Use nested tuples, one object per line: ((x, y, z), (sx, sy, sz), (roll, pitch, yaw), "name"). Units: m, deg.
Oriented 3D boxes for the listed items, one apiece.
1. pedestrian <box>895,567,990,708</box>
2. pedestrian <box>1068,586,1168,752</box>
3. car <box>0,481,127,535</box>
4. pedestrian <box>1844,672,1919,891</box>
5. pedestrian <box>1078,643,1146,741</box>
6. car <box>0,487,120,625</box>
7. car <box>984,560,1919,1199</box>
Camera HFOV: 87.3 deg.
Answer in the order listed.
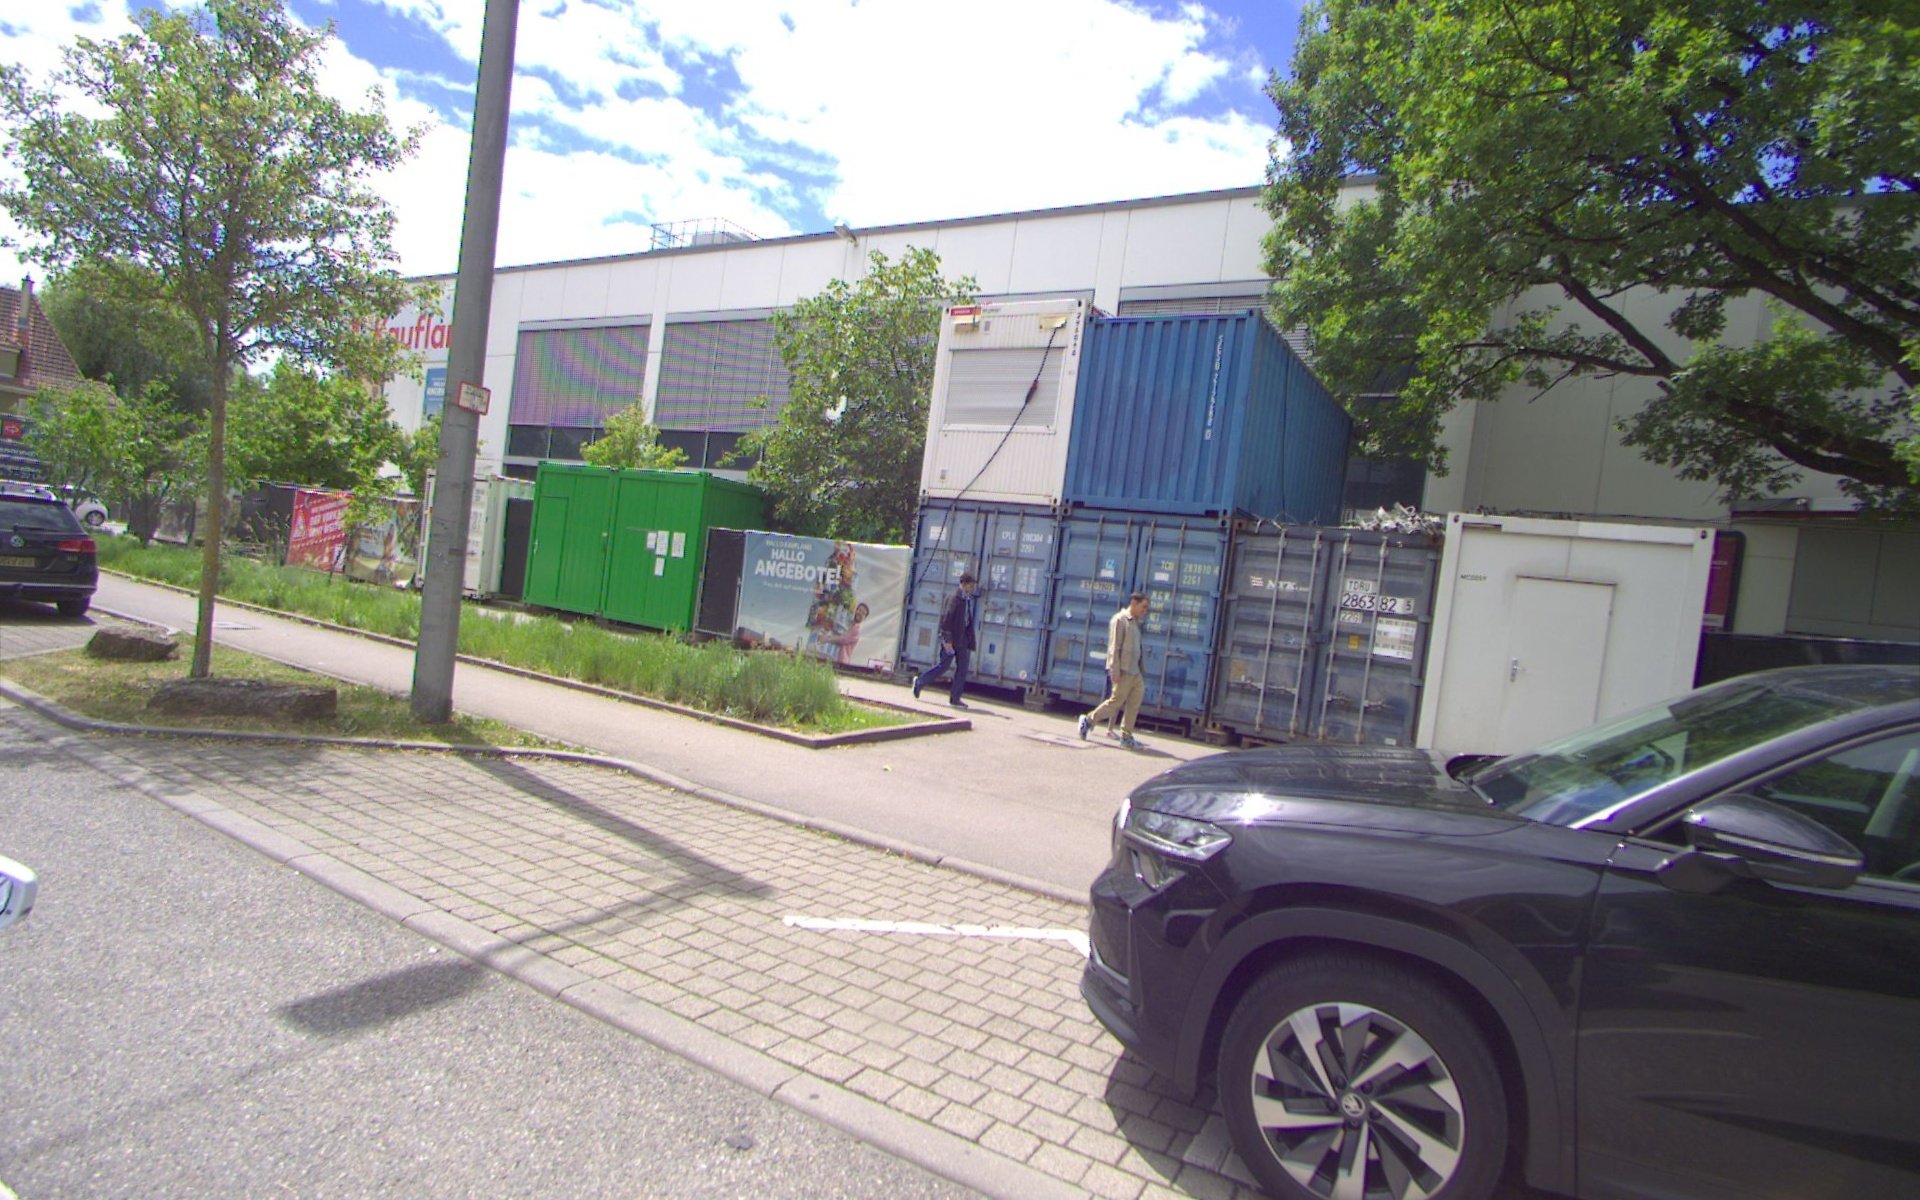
((-0.225, 0.493, 13.120), (0.831, 1.718, 0.652), (7, 0, 32), "pedestrian")
((1.761, 0.757, 11.193), (0.713, 1.717, 0.651), (7, 0, 32), "pedestrian")
((-35.506, -3.603, 39.501), (1.583, 1.627, 3.985), (7, 2, 35), "car")
((7.648, 1.439, 7.937), (0.755, 1.638, 0.743), (7, 0, 32), "pedestrian")
((1.788, 1.075, 11.818), (0.557, 1.071, 0.412), (7, 0, 32), "pedestrian")
((-12.451, -0.692, 12.475), (4.856, 1.497, 1.764), (6, 2, 33), "car")
((2.682, 0.981, 2.732), (4.760, 1.642, 1.882), (7, 1, 25), "car")
